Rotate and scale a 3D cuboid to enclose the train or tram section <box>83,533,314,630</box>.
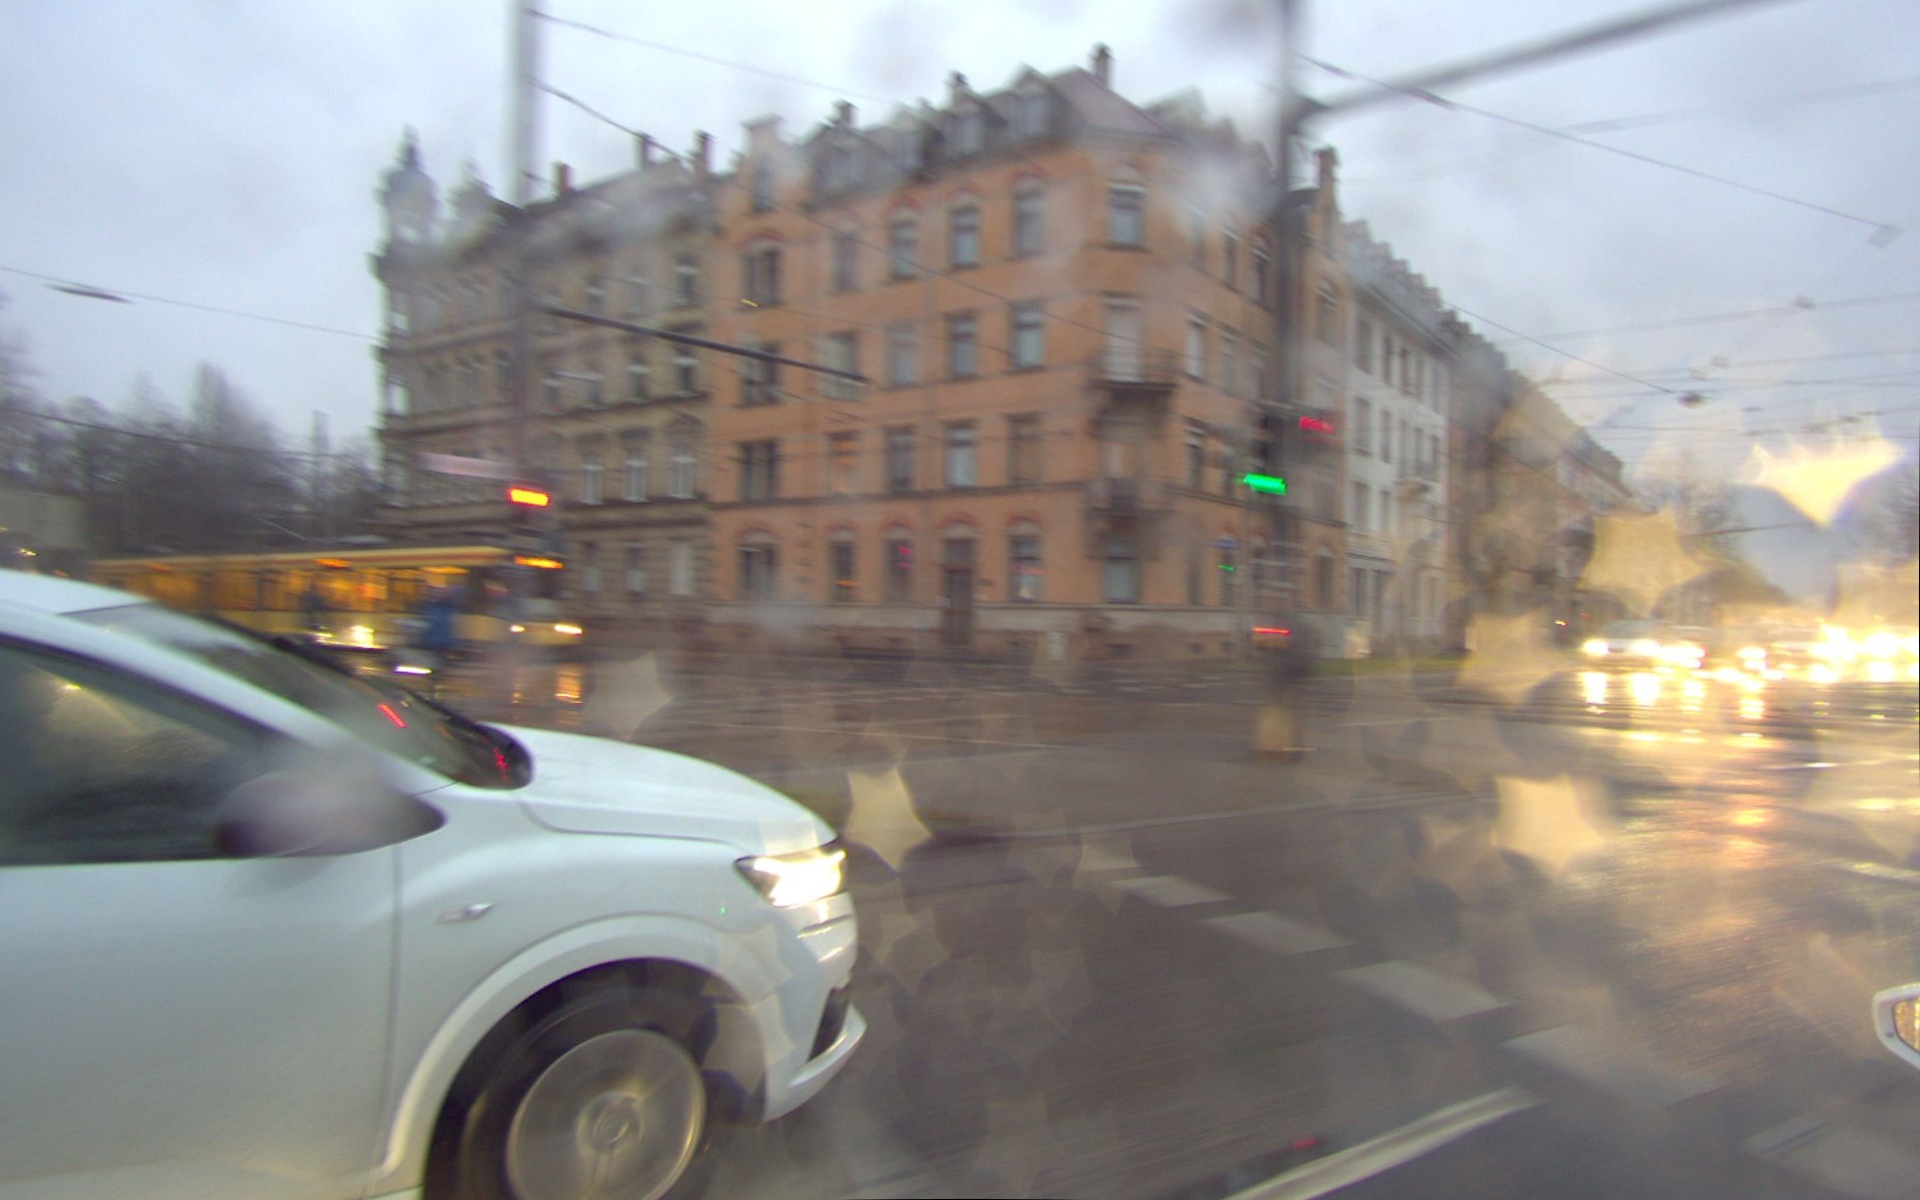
[{"bbox_3d":[-28.923,-0.746,37.905,10.955,3.280,3.162,2,0,32],"label":"train or tram section"}]

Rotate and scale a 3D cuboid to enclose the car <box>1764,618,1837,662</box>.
[{"bbox_3d":[30.784,1.444,36.750,1.663,1.477,4.307,0,-1,45],"label":"car"}]

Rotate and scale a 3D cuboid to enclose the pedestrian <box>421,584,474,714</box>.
[{"bbox_3d":[-7.259,0.683,14.221,0.621,1.795,0.465,2,0,-29],"label":"pedestrian"}]

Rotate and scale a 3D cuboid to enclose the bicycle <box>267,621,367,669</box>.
[{"bbox_3d":[-13.189,0.915,20.607,1.945,0.912,0.507,1,0,13],"label":"bicycle"}]

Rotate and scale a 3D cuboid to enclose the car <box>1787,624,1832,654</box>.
[{"bbox_3d":[46.079,2.095,54.465,1.662,1.573,4.098,0,-1,43],"label":"car"}]

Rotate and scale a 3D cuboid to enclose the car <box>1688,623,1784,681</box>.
[{"bbox_3d":[21.802,1.400,28.172,1.663,1.477,4.037,0,-1,45],"label":"car"}]

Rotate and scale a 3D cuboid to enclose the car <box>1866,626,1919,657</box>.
[{"bbox_3d":[41.758,1.832,45.041,1.518,1.262,4.068,0,-1,40],"label":"car"}]

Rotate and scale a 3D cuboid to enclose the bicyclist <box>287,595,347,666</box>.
[{"bbox_3d":[-13.179,0.617,20.604,0.949,1.409,0.507,1,0,13],"label":"bicyclist"}]

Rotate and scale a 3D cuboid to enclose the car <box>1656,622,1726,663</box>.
[{"bbox_3d":[27.231,1.553,37.362,1.662,1.410,3.592,0,-1,43],"label":"car"}]

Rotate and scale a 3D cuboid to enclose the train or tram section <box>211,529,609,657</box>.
[{"bbox_3d":[-17.446,-0.373,30.840,16.023,3.231,3.162,2,0,32],"label":"train or tram section"}]

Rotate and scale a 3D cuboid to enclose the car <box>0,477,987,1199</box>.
[{"bbox_3d":[-2.027,0.559,2.295,3.954,1.507,1.618,1,-1,-31],"label":"car"}]
